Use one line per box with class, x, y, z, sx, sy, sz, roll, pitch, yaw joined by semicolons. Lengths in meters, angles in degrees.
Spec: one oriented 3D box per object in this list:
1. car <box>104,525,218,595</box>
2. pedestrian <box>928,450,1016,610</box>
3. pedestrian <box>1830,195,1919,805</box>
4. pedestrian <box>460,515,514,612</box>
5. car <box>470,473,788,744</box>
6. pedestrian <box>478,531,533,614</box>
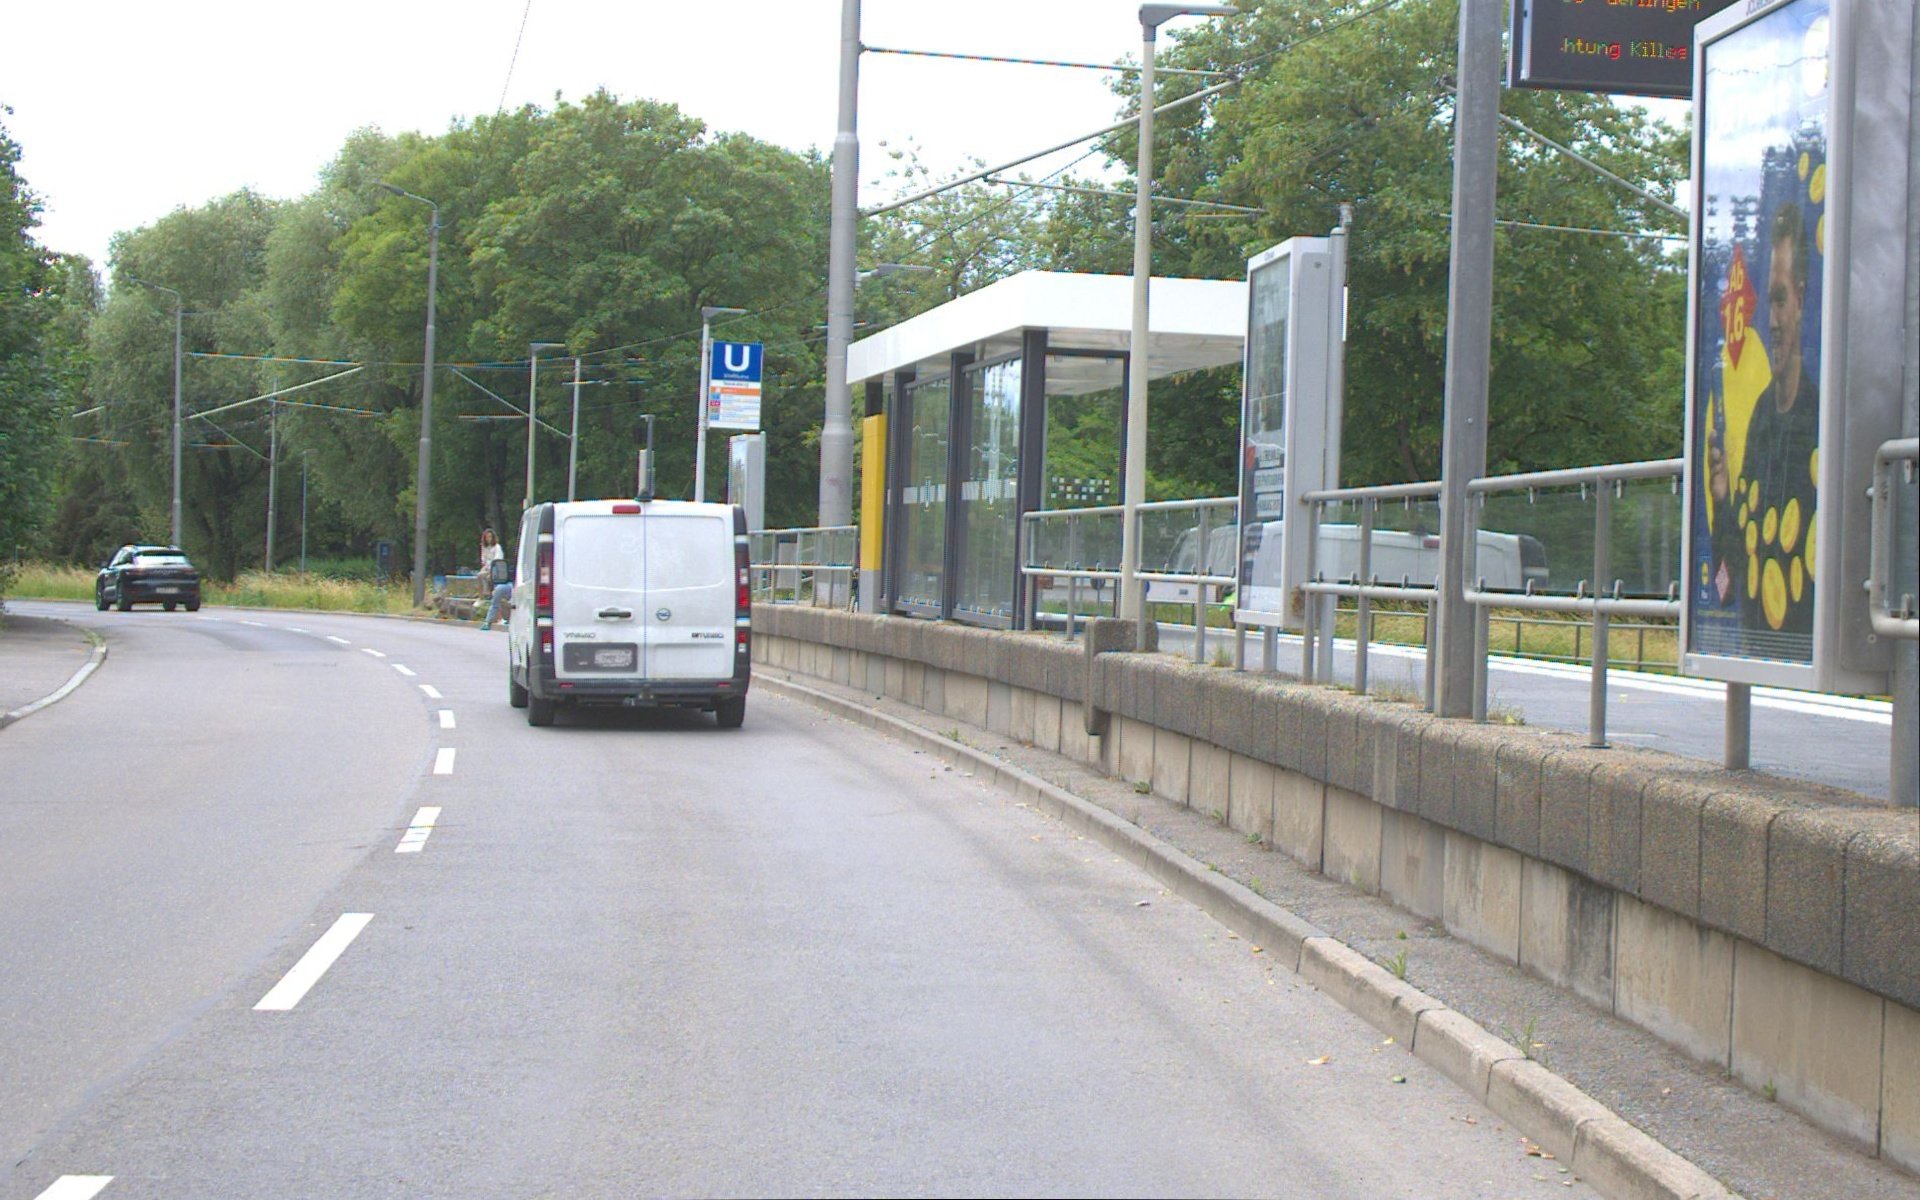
car;-19.702;-1.003;84.684;2.354;1.559;4.374;3;0;-17
pedestrian;0.104;-0.634;30.678;0.638;1.399;0.765;1;2;-9
pedestrian;3.054;-0.270;9.727;0.886;1.665;0.910;2;1;-1
pedestrian;-8.810;-0.682;64.035;0.758;1.789;0.631;1;1;-35
car;-3.081;0.011;30.786;2.116;2.127;5.442;3;1;-12
pedestrian;-8.271;-0.501;62.556;0.758;1.487;0.631;1;1;-35
